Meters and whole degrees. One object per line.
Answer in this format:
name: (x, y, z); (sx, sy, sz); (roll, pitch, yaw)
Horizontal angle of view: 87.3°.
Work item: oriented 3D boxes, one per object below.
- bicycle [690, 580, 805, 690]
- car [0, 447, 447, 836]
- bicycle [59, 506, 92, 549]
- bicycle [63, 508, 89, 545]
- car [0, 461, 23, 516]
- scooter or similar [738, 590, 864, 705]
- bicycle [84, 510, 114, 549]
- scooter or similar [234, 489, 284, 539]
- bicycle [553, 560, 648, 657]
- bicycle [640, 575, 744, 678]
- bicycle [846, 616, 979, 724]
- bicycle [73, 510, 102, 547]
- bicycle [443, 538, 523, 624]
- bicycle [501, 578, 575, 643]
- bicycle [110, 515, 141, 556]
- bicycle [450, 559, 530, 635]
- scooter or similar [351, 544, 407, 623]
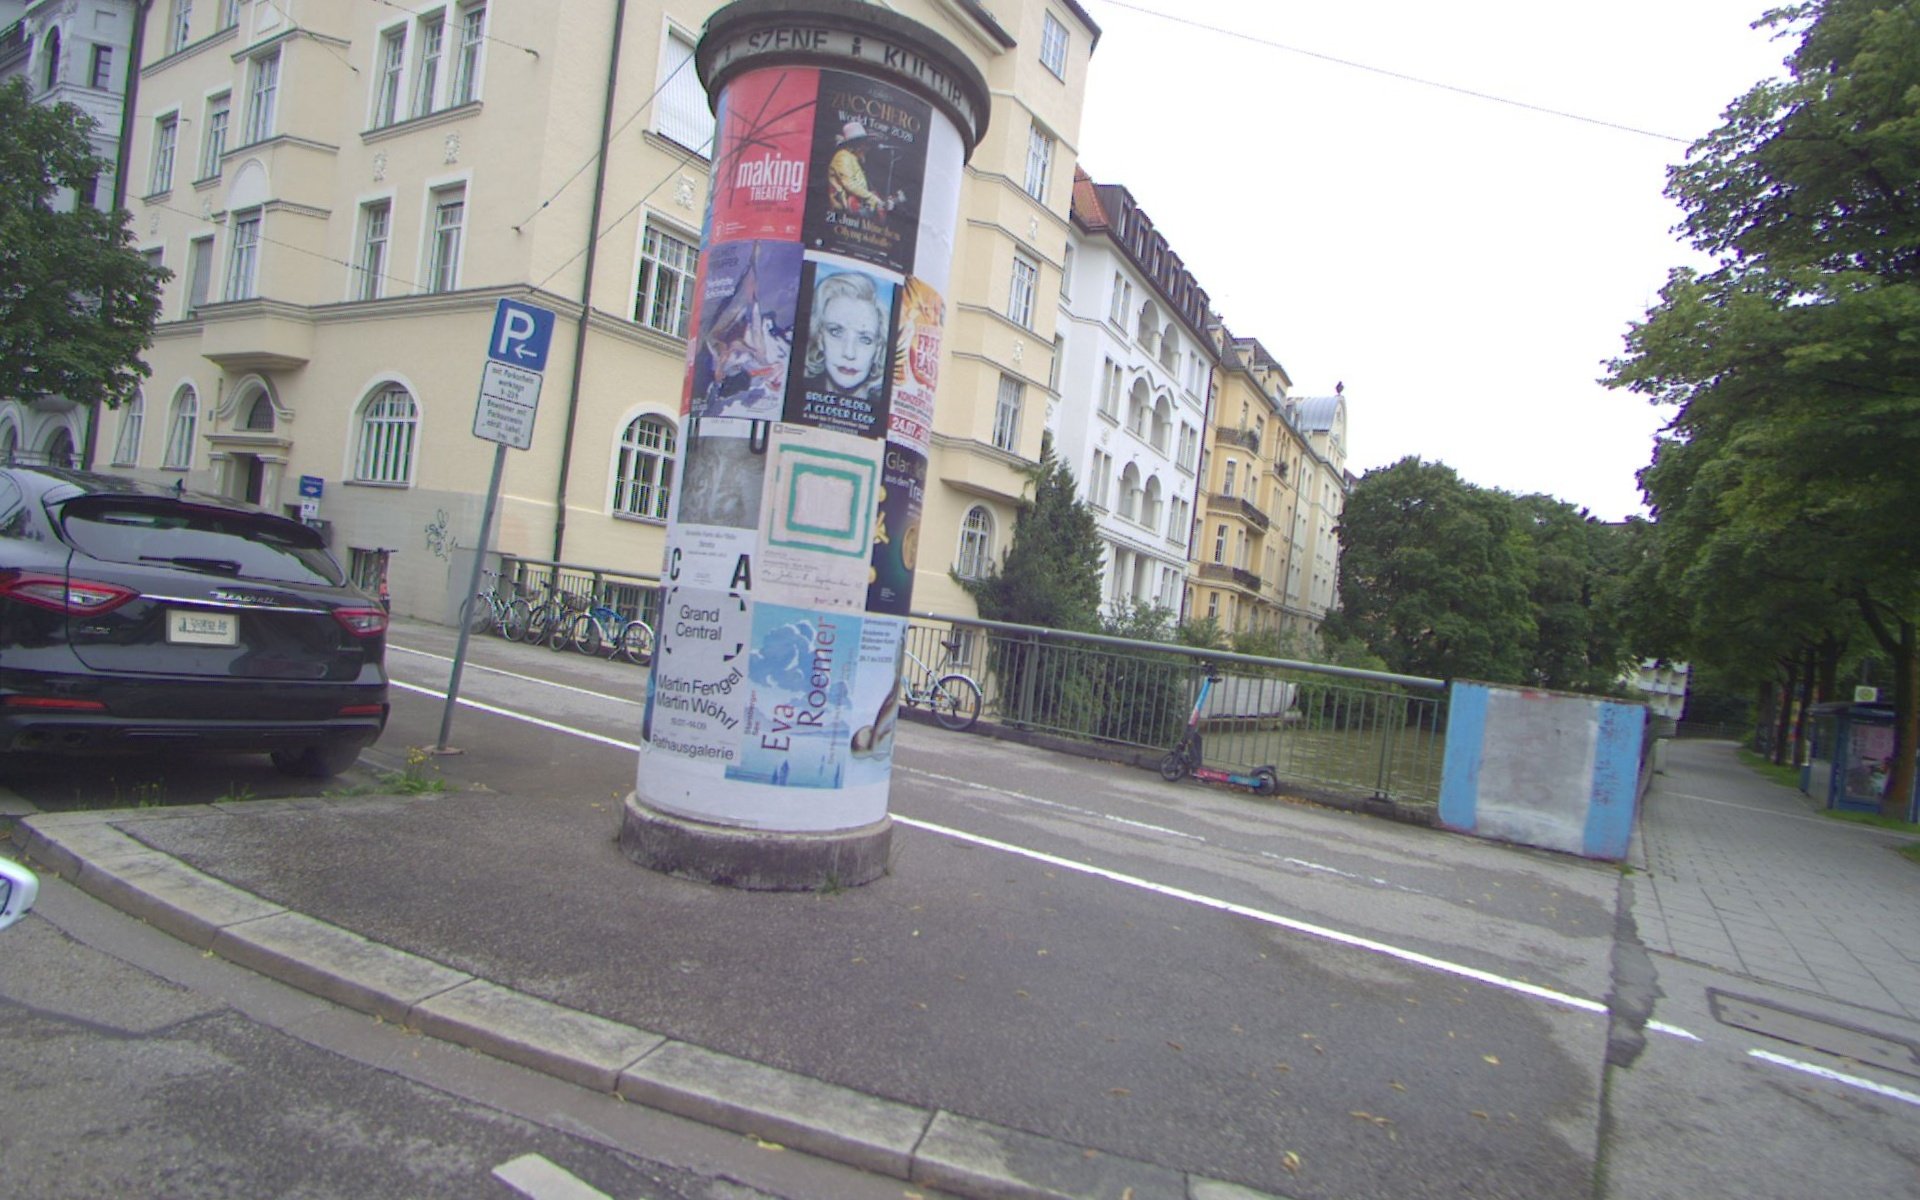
bicycle: (-2.878, 0.473, 13.598); (1.383, 1.297, 0.283); (7, -1, 13)
car: (-5.442, 0.026, 6.211); (4.589, 1.628, 1.904); (8, -1, 33)
bicycle: (-23.496, -1.938, 26.724); (1.203, 1.051, 0.242); (7, -1, 33)
bicycle: (-24.520, -2.052, 27.900); (0.871, 0.941, 0.259); (7, -1, 34)
car: (-50.003, -5.933, 49.369); (2.193, 2.642, 5.308); (7, -2, 30)
scooter or similar: (-2.066, 0.613, 13.074); (1.467, 1.277, 0.245); (7, -1, 10)
bicycle: (-22.980, -1.890, 26.855); (0.872, 0.941, 0.306); (7, -1, 35)
scooter or similar: (-15.354, -1.881, 22.037); (0.538, 0.957, 0.662); (7, -1, 34)
bicycle: (-5.510, 0.125, 15.397); (1.384, 1.297, 0.283); (7, -1, 22)
bicycle: (-3.818, 0.370, 14.321); (1.384, 1.297, 0.283); (7, -1, 22)
bicycle: (-0.588, 0.847, 12.312); (1.513, 1.094, 0.265); (7, -1, 18)
bicycle: (-23.753, -1.948, 27.399); (0.871, 0.941, 0.291); (7, -1, 34)
bicycle: (-8.225, -0.336, 17.332); (1.511, 1.327, 0.332); (7, -1, 32)
bicycle: (-6.852, 0.162, 16.339); (1.122, 0.948, 0.249); (6, 3, 12)
bicycle: (-21.161, -1.633, 25.517); (0.871, 0.941, 0.285); (7, -1, 34)
bicycle: (-7.953, -0.051, 17.018); (1.417, 1.119, 0.287); (7, 0, 26)
scooter or similar: (-10.654, -0.313, 18.430); (1.124, 1.328, 0.261); (7, -1, 33)
